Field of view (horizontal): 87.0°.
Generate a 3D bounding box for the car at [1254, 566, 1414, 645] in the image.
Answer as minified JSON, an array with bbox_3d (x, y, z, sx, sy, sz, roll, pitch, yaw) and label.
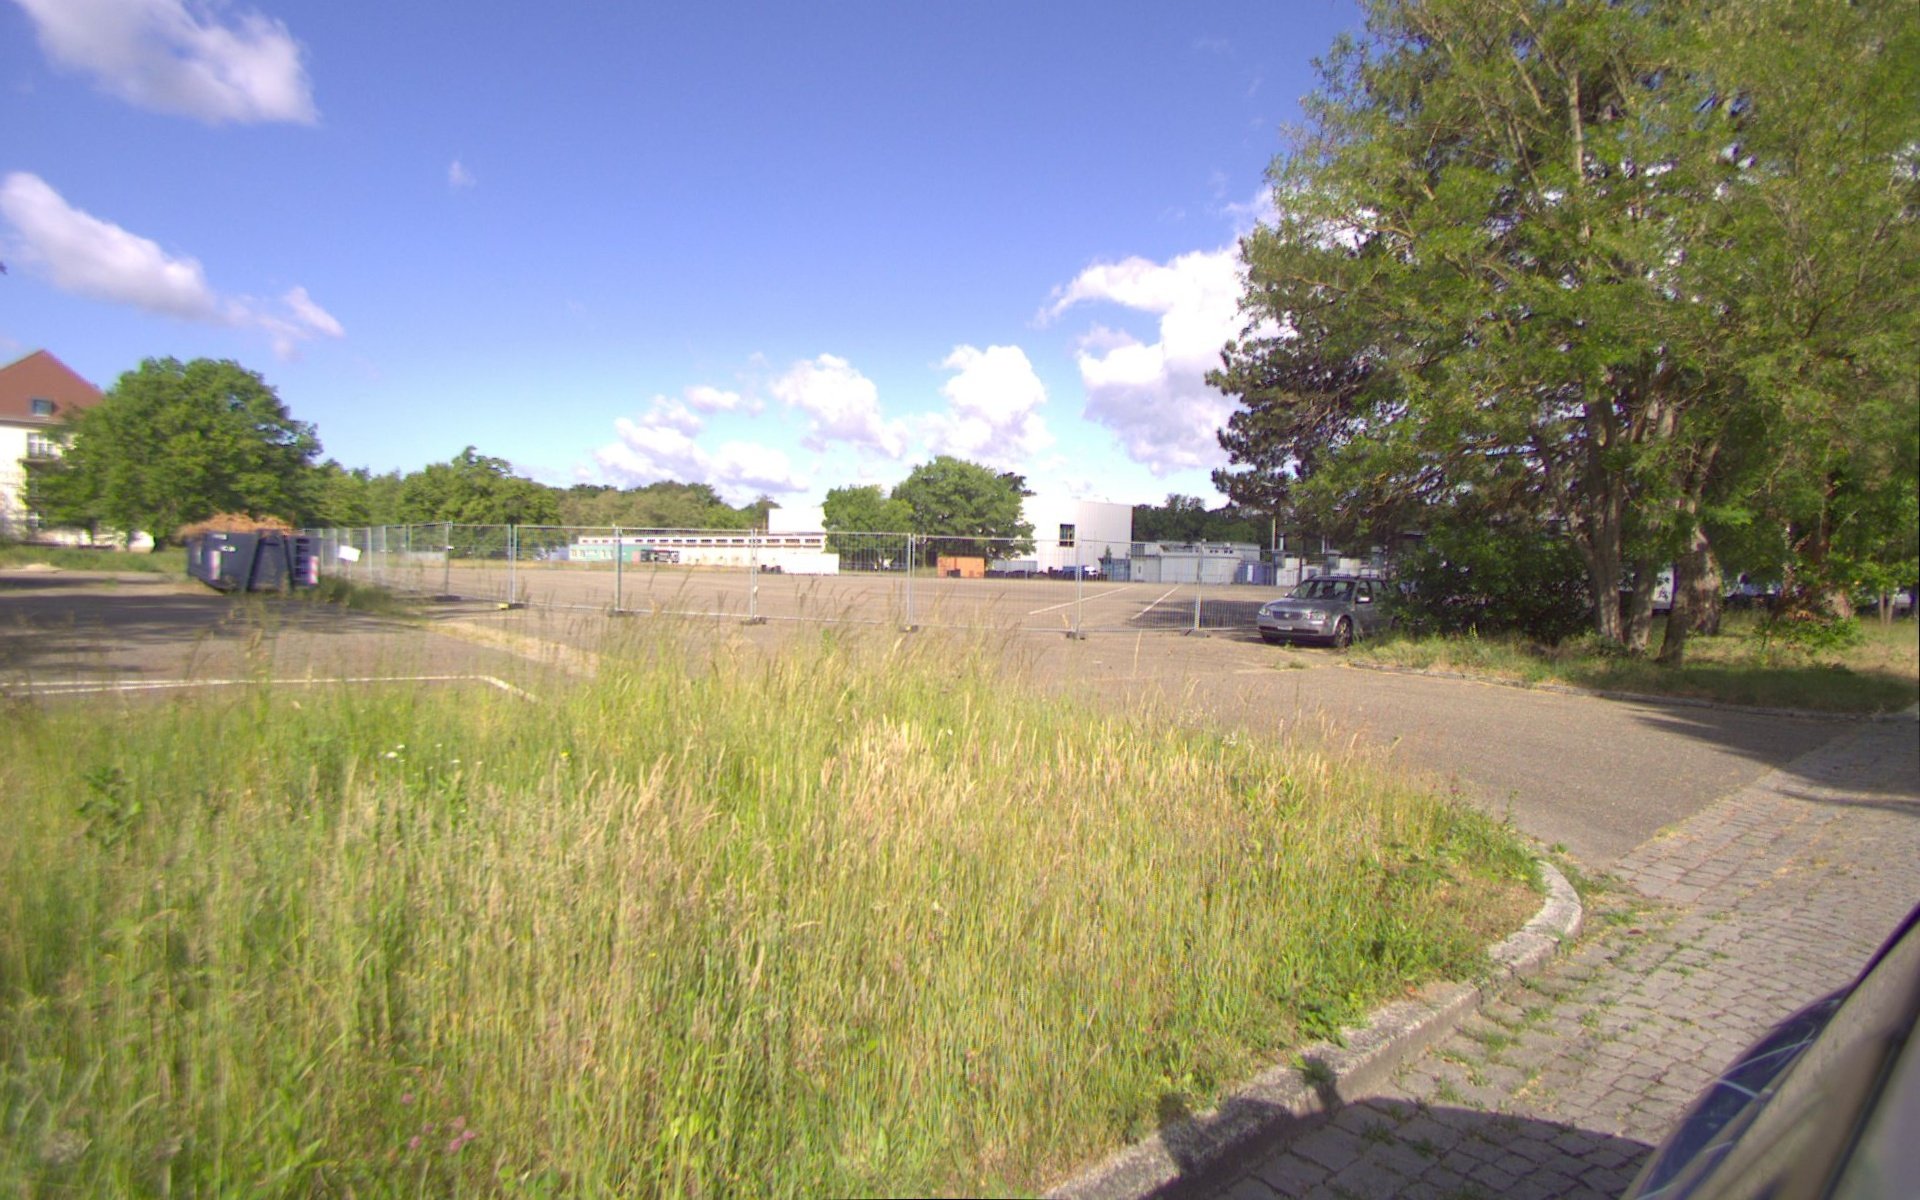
[{"bbox_3d":[7.896,0.077,21.208,3.921,1.461,1.576,0,3,-44],"label":"car"}]
